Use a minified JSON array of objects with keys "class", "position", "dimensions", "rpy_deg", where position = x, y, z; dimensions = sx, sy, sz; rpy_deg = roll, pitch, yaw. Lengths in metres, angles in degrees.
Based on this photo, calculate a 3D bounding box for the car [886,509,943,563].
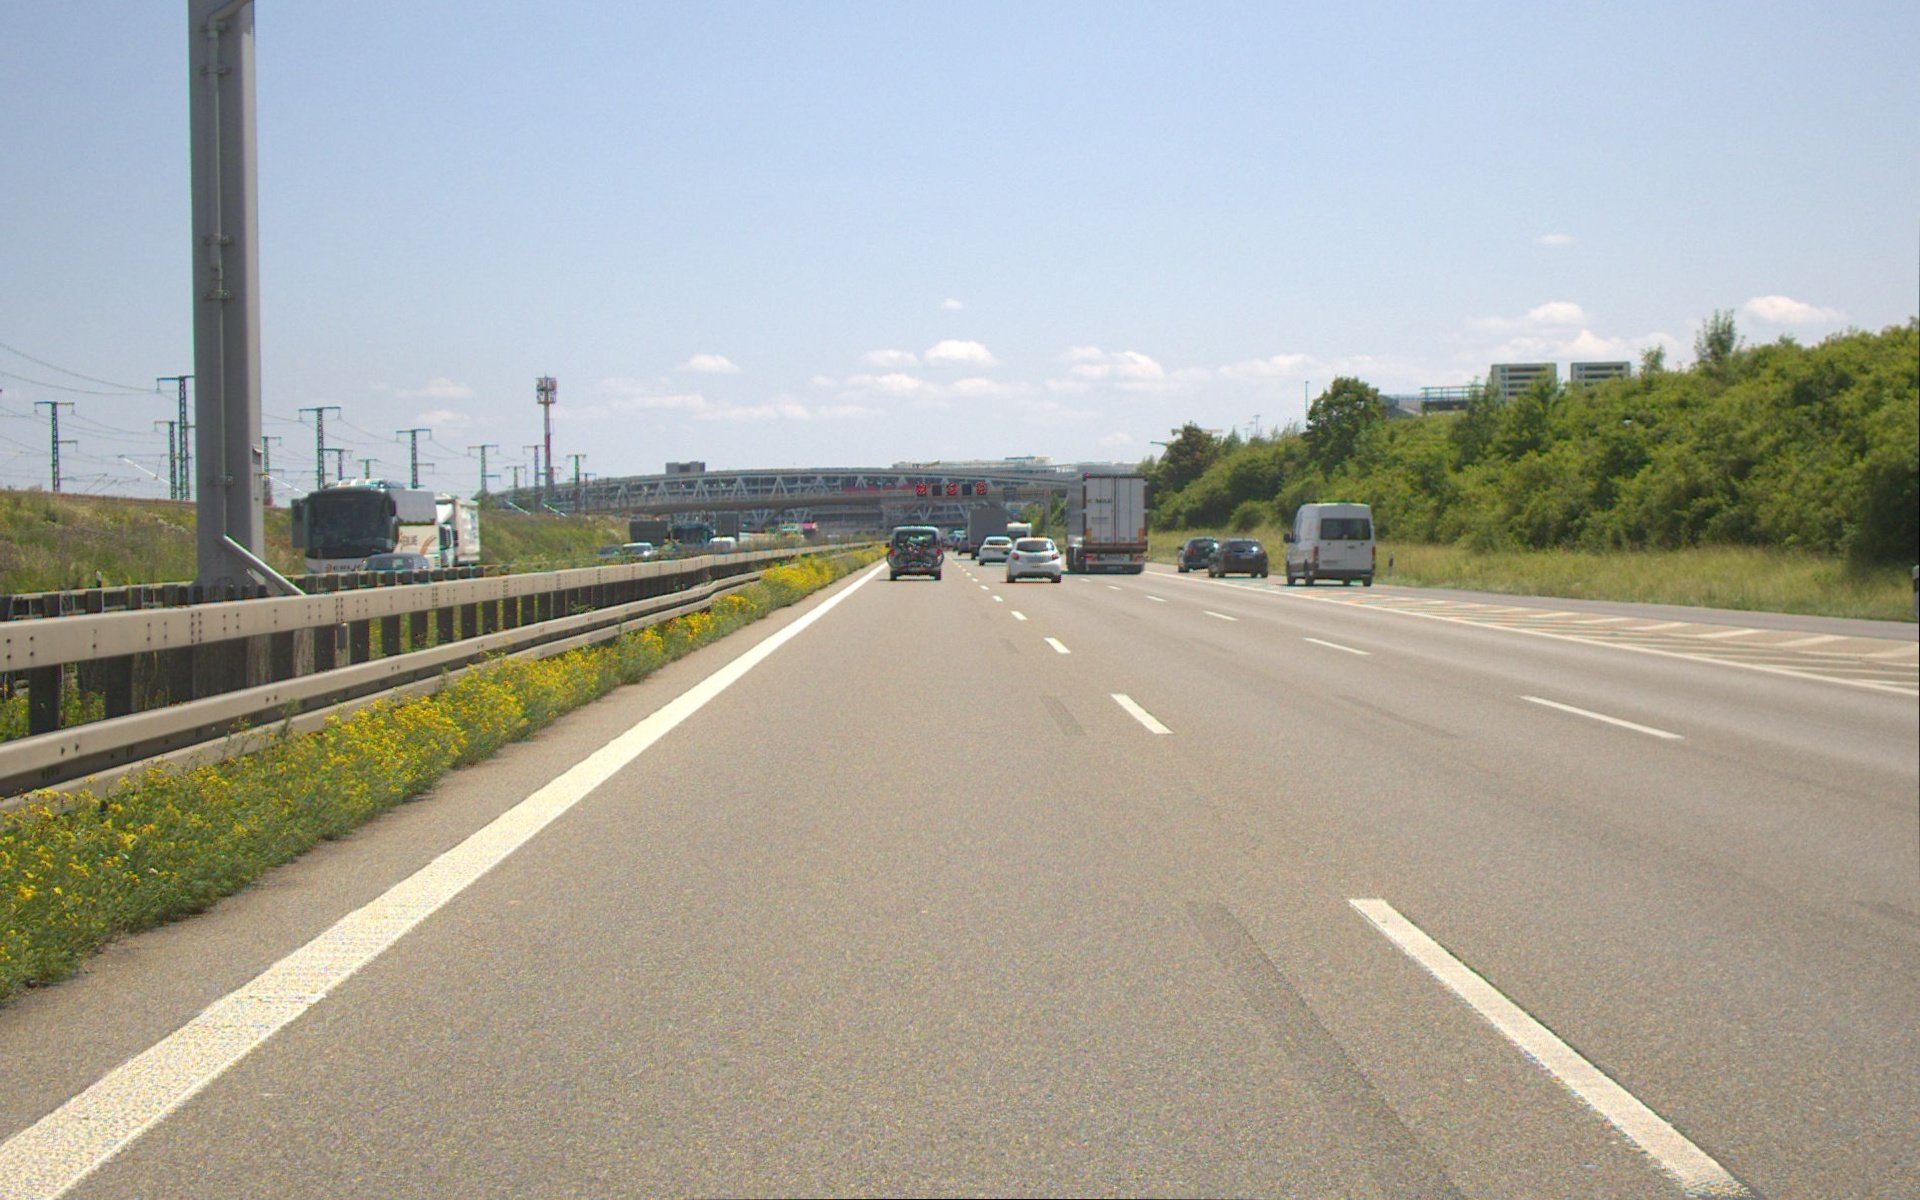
[{"class":"car","position":[-1.534,-2.161,117.450],"dimensions":[1.881,1.769,4.000],"rpy_deg":[-1,0,0]}]

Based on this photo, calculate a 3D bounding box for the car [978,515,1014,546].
[{"class":"car","position":[1.871,-3.596,178.711],"dimensions":[1.881,1.521,4.000],"rpy_deg":[0,0,1]}]

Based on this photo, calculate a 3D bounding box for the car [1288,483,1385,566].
[{"class":"car","position":[11.614,-2.331,106.441],"dimensions":[2.274,2.519,5.400],"rpy_deg":[0,1,-1]}]

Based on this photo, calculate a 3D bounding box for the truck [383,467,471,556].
[{"class":"truck","position":[-21.275,-3.532,137.490],"dimensions":[2.848,3.455,4.023],"rpy_deg":[1,1,0]}]

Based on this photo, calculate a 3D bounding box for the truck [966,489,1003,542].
[{"class":"truck","position":[1.573,-5.461,222.535],"dimensions":[2.355,3.404,6.057],"rpy_deg":[0,1,0]}]

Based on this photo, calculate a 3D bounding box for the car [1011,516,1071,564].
[{"class":"car","position":[2.650,-1.946,111.846],"dimensions":[1.881,1.521,4.000],"rpy_deg":[0,0,2]}]

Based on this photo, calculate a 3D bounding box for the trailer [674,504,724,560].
[{"class":"trailer","position":[-18.336,-4.808,241.704],"dimensions":[3.050,3.854,7.204],"rpy_deg":[-1,1,-1]}]

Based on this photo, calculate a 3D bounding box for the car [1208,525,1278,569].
[{"class":"car","position":[10.251,-1.903,124.841],"dimensions":[1.993,1.503,4.000],"rpy_deg":[1,0,-3]}]

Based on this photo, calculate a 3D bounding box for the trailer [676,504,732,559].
[{"class":"trailer","position":[-18.461,-4.942,248.611],"dimensions":[3.050,3.854,15.979],"rpy_deg":[-1,1,-1]}]

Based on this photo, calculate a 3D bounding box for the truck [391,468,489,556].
[{"class":"truck","position":[-21.305,-3.601,141.212],"dimensions":[2.857,3.455,7.781],"rpy_deg":[1,1,0]}]

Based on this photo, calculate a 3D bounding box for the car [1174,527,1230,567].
[{"class":"car","position":[10.131,-2.218,144.262],"dimensions":[1.993,1.590,4.000],"rpy_deg":[1,0,-1]}]

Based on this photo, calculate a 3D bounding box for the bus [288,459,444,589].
[{"class":"bus","position":[-17.681,-2.273,103.086],"dimensions":[2.856,3.633,10.942],"rpy_deg":[1,1,-1]}]

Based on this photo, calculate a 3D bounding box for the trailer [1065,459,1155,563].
[{"class":"trailer","position":[6.093,-3.619,140.981],"dimensions":[3.177,4.045,9.440],"rpy_deg":[-1,1,0]}]
